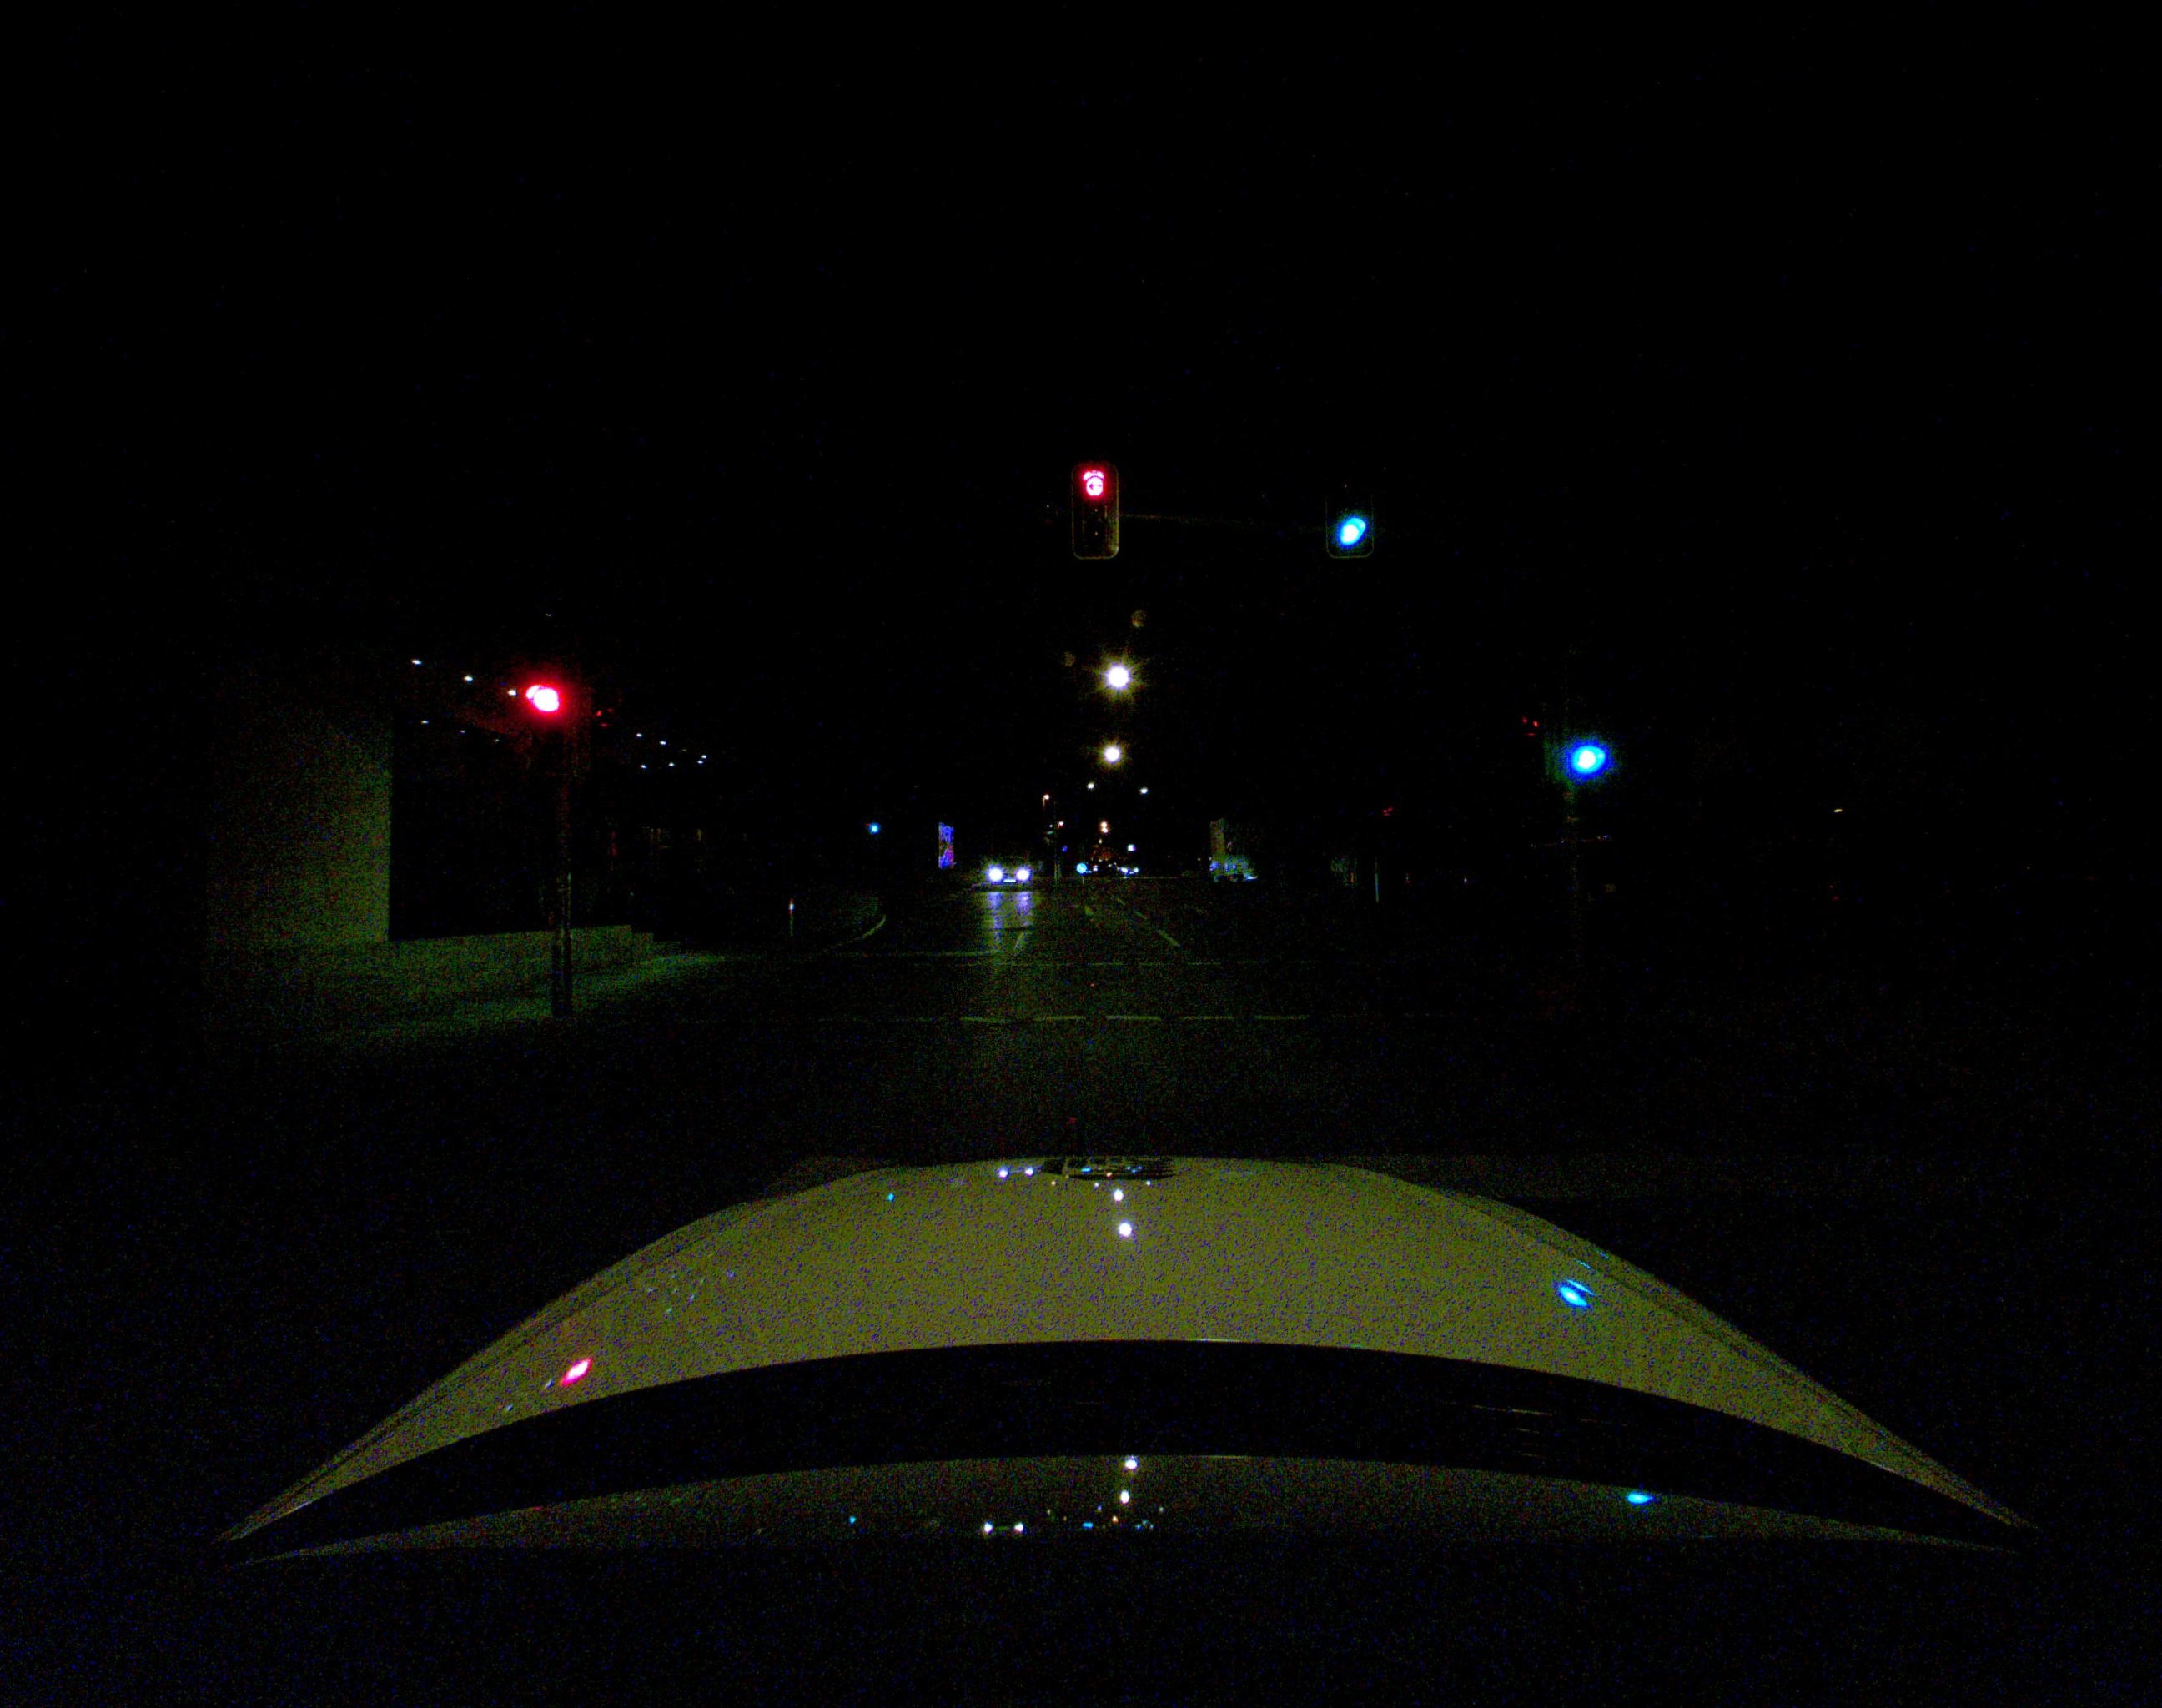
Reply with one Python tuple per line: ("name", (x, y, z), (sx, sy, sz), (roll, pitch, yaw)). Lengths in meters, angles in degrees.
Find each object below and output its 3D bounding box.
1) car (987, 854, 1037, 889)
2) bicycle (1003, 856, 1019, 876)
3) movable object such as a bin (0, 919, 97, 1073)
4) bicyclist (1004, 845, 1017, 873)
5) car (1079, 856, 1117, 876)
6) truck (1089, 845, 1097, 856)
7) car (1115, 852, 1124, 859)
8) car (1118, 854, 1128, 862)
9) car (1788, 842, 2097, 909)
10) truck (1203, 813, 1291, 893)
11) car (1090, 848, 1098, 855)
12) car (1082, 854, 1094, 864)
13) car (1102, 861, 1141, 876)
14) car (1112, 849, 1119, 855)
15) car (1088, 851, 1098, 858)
("car", (-3.148, 0.783, 37.792), (1.850, 1.534, 4.029), (0, 0, 1))
("bicycle", (-4.189, 0.717, 48.637), (0.693, 1.149, 1.951), (-1, -1, 2))
("movable object such as a bin", (-7.919, 1.032, 6.007), (0.633, 1.049, 0.657), (-1, -1, 19))
("bicyclist", (-4.187, 0.305, 48.556), (0.688, 1.637, 0.896), (-1, -1, 1))
("car", (1.398, 0.933, 65.624), (1.566, 1.501, 3.417), (-1, 0, 32))
("truck", (3.085, -0.954, 210.114), (2.079, 2.848, 5.831), (0, 0, 0))
("car", (7.567, 0.300, 159.640), (1.628, 1.452, 3.486), (0, 0, 2))
("car", (7.451, 0.661, 143.708), (1.628, 1.452, 3.486), (0, 0, 2))
("car", (17.327, 0.436, 16.583), (4.107, 1.280, 1.770), (-1, -1, 9))
("truck", (6.925, -0.032, 34.792), (2.738, 3.110, 6.262), (0, 0, 2))
("car", (2.950, -0.541, 187.462), (1.809, 1.491, 4.000), (0, 0, 0))
("car", (1.164, 0.855, 134.935), (1.808, 1.684, 4.002), (0, 0, 2))
("car", (3.931, 1.377, 80.421), (1.926, 1.388, 4.543), (0, 0, -26))
("car", (8.134, -0.400, 191.867), (1.628, 1.452, 3.486), (0, 0, 2))
("car", (2.393, 0.131, 161.060), (1.809, 1.491, 4.000), (0, 0, 0))
